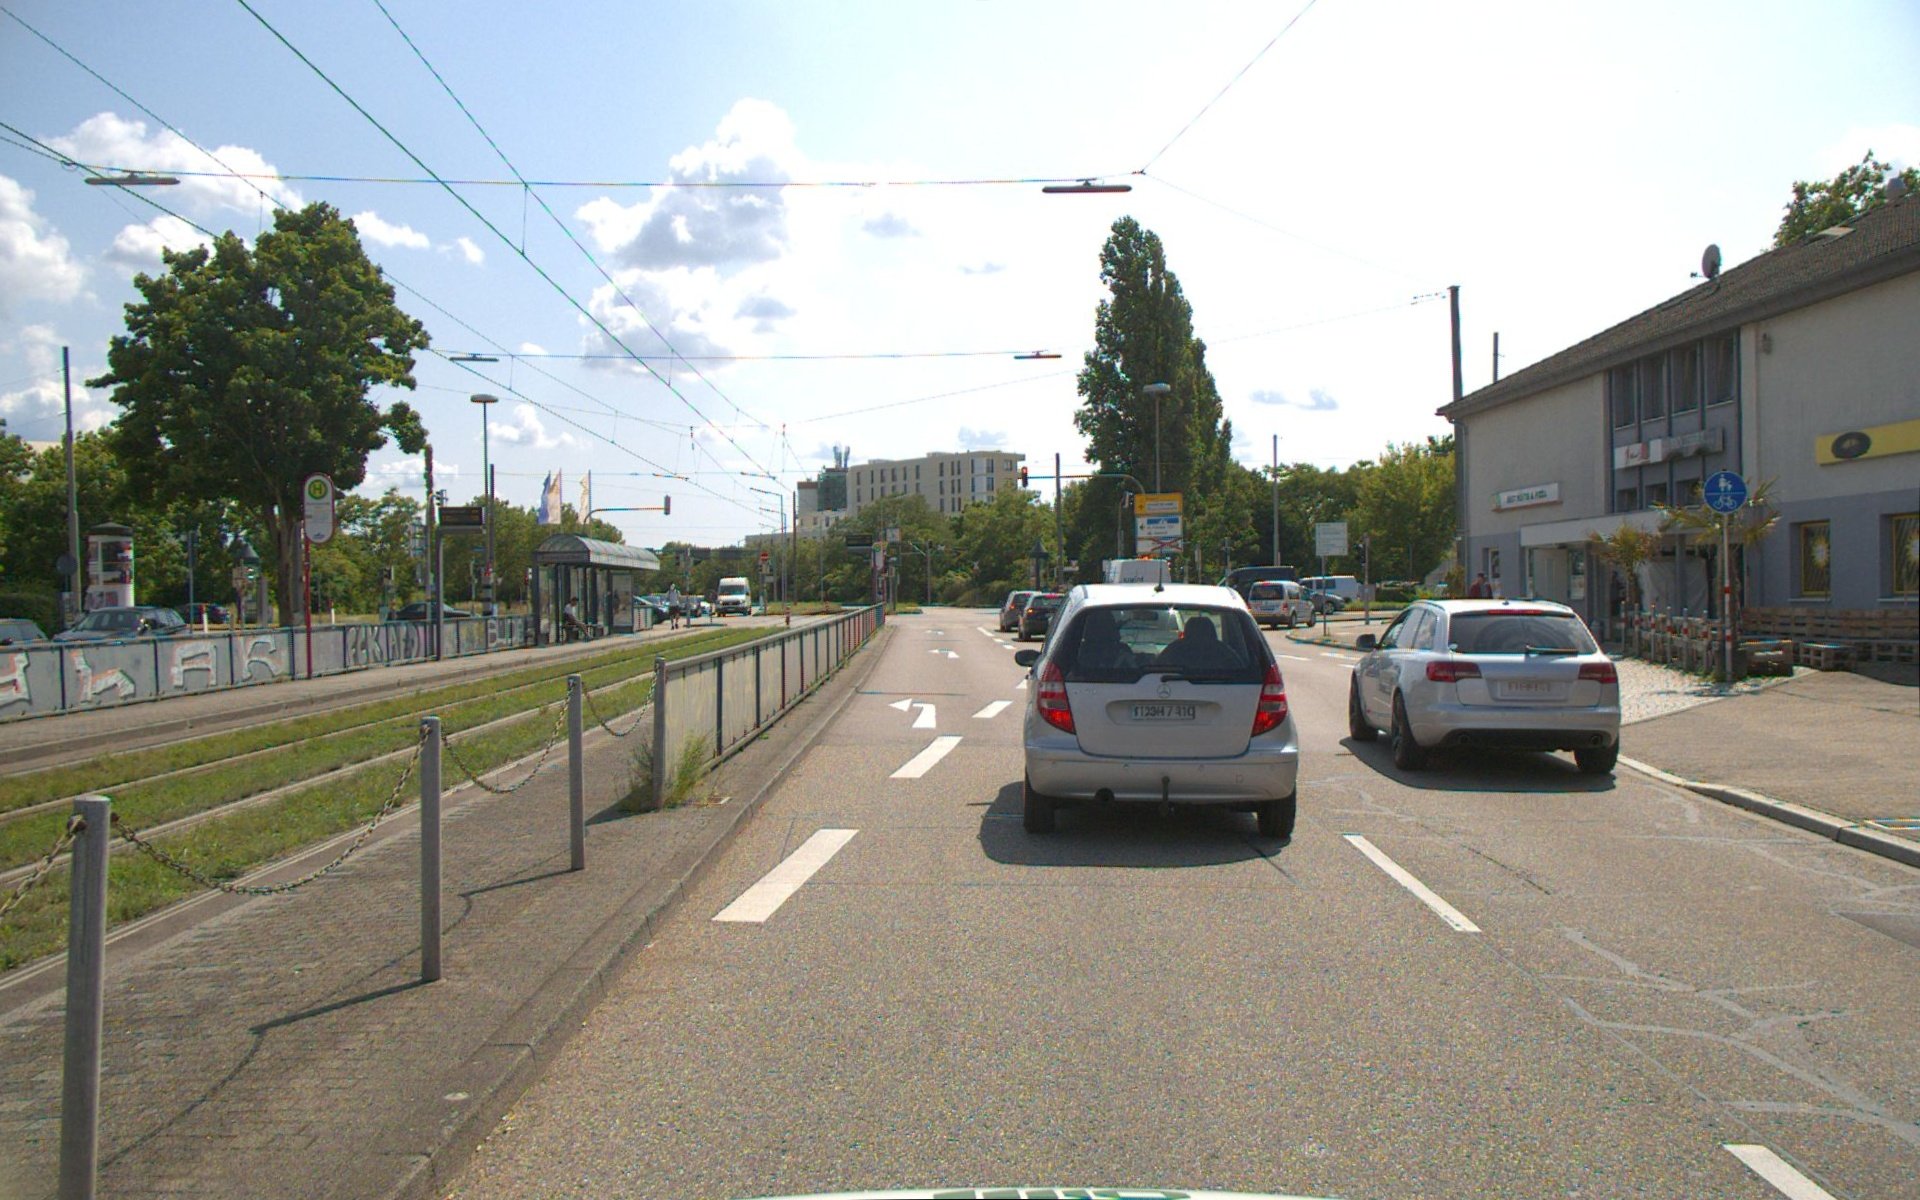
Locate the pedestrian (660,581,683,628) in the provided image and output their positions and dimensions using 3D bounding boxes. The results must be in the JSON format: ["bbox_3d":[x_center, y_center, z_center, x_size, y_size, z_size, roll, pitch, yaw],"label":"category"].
[{"bbox_3d":[-11.340,0.157,65.083,0.791,1.826,0.708,-1,0,-4],"label":"pedestrian"}]

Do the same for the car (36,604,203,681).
[{"bbox_3d":[-20.029,0.965,39.660,2.021,1.642,4.746,-1,0,-7],"label":"car"}]

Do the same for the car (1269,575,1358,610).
[{"bbox_3d":[20.075,-0.421,93.992,4.581,1.970,2.000,0,0,-1],"label":"car"}]

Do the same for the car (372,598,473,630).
[{"bbox_3d":[-26.834,0.672,82.721,4.367,1.540,2.000,0,0,2],"label":"car"}]

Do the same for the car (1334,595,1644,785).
[{"bbox_3d":[4.783,0.716,15.641,1.815,1.518,4.538,0,0,5],"label":"car"}]

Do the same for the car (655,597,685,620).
[{"bbox_3d":[-21.080,0.612,120.207,1.826,1.680,3.995,0,0,-5],"label":"car"}]

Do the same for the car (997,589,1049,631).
[{"bbox_3d":[2.318,0.340,61.914,1.709,1.525,4.378,0,0,-1],"label":"car"}]

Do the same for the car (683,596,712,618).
[{"bbox_3d":[-18.962,0.514,119.673,1.767,1.568,4.160,0,0,-5],"label":"car"}]

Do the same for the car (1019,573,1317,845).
[{"bbox_3d":[1.374,0.639,11.906,1.749,1.604,4.096,-1,0,4],"label":"car"}]

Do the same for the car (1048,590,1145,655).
[{"bbox_3d":[3.259,0.503,40.217,1.849,1.473,4.827,0,0,-1],"label":"car"}]

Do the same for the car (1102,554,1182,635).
[{"bbox_3d":[6.139,-0.182,56.388,2.000,2.602,5.229,-1,0,-2],"label":"car"}]

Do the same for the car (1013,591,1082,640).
[{"bbox_3d":[2.680,0.462,51.454,1.832,1.444,4.099,0,0,-1],"label":"car"}]

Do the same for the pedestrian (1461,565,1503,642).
[{"bbox_3d":[12.748,0.089,40.399,0.707,1.813,0.703,-3,0,1],"label":"pedestrian"}]

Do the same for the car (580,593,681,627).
[{"bbox_3d":[-16.592,0.485,83.375,4.576,1.576,2.001,-1,0,4],"label":"car"}]

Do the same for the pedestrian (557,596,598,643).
[{"bbox_3d":[-11.476,0.581,49.623,1.037,1.400,0.860,0,0,-1],"label":"pedestrian"}]

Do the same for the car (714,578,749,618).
[{"bbox_3d":[-15.412,-0.136,111.979,1.954,2.651,4.875,0,0,-3],"label":"car"}]

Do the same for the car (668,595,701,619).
[{"bbox_3d":[-18.492,0.493,111.214,1.859,1.568,3.725,0,0,-5],"label":"car"}]

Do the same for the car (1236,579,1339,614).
[{"bbox_3d":[16.252,-0.178,82.165,4.762,1.689,2.000,0,0,2],"label":"car"}]

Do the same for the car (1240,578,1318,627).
[{"bbox_3d":[12.397,0.104,64.091,1.848,1.761,4.089,-2,-1,27],"label":"car"}]

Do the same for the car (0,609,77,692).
[{"bbox_3d":[-19.800,1.014,33.430,1.749,1.612,3.931,-1,0,1],"label":"car"}]

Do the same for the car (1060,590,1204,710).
[{"bbox_3d":[2.306,0.616,23.204,1.702,1.518,4.631,0,0,2],"label":"car"}]
